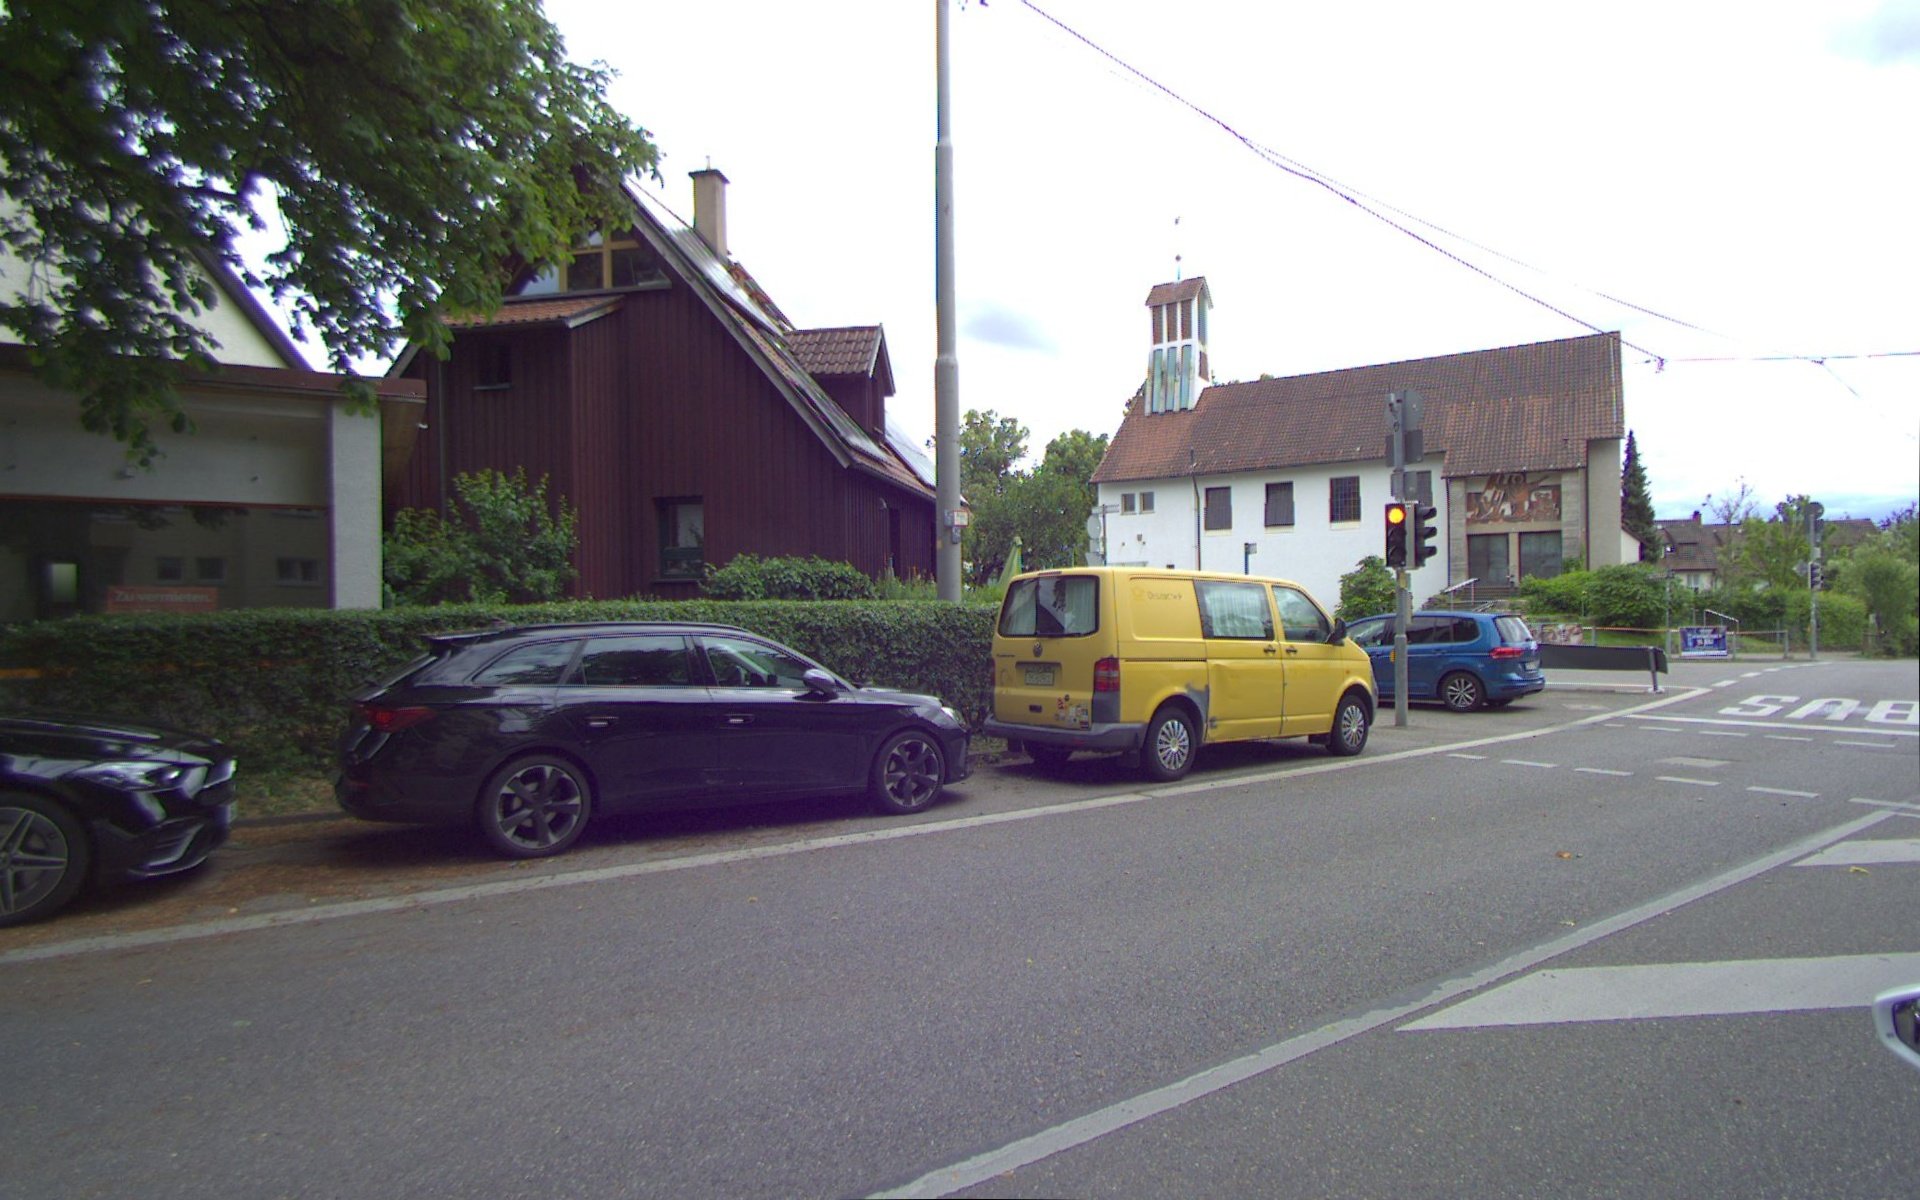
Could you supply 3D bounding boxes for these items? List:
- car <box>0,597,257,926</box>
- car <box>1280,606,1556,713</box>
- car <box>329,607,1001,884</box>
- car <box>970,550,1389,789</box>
[{"bbox_3d":[-6.218,0.756,4.748,4.561,1.520,1.984,1,-2,-31],"label":"car"},{"bbox_3d":[7.810,0.985,17.357,1.806,1.632,3.948,1,-3,-44],"label":"car"},{"bbox_3d":[-2.001,0.839,7.432,4.494,1.505,1.681,1,-2,-34],"label":"car"},{"bbox_3d":[2.457,0.641,10.675,4.523,2.040,1.870,1,-2,-37],"label":"car"}]
